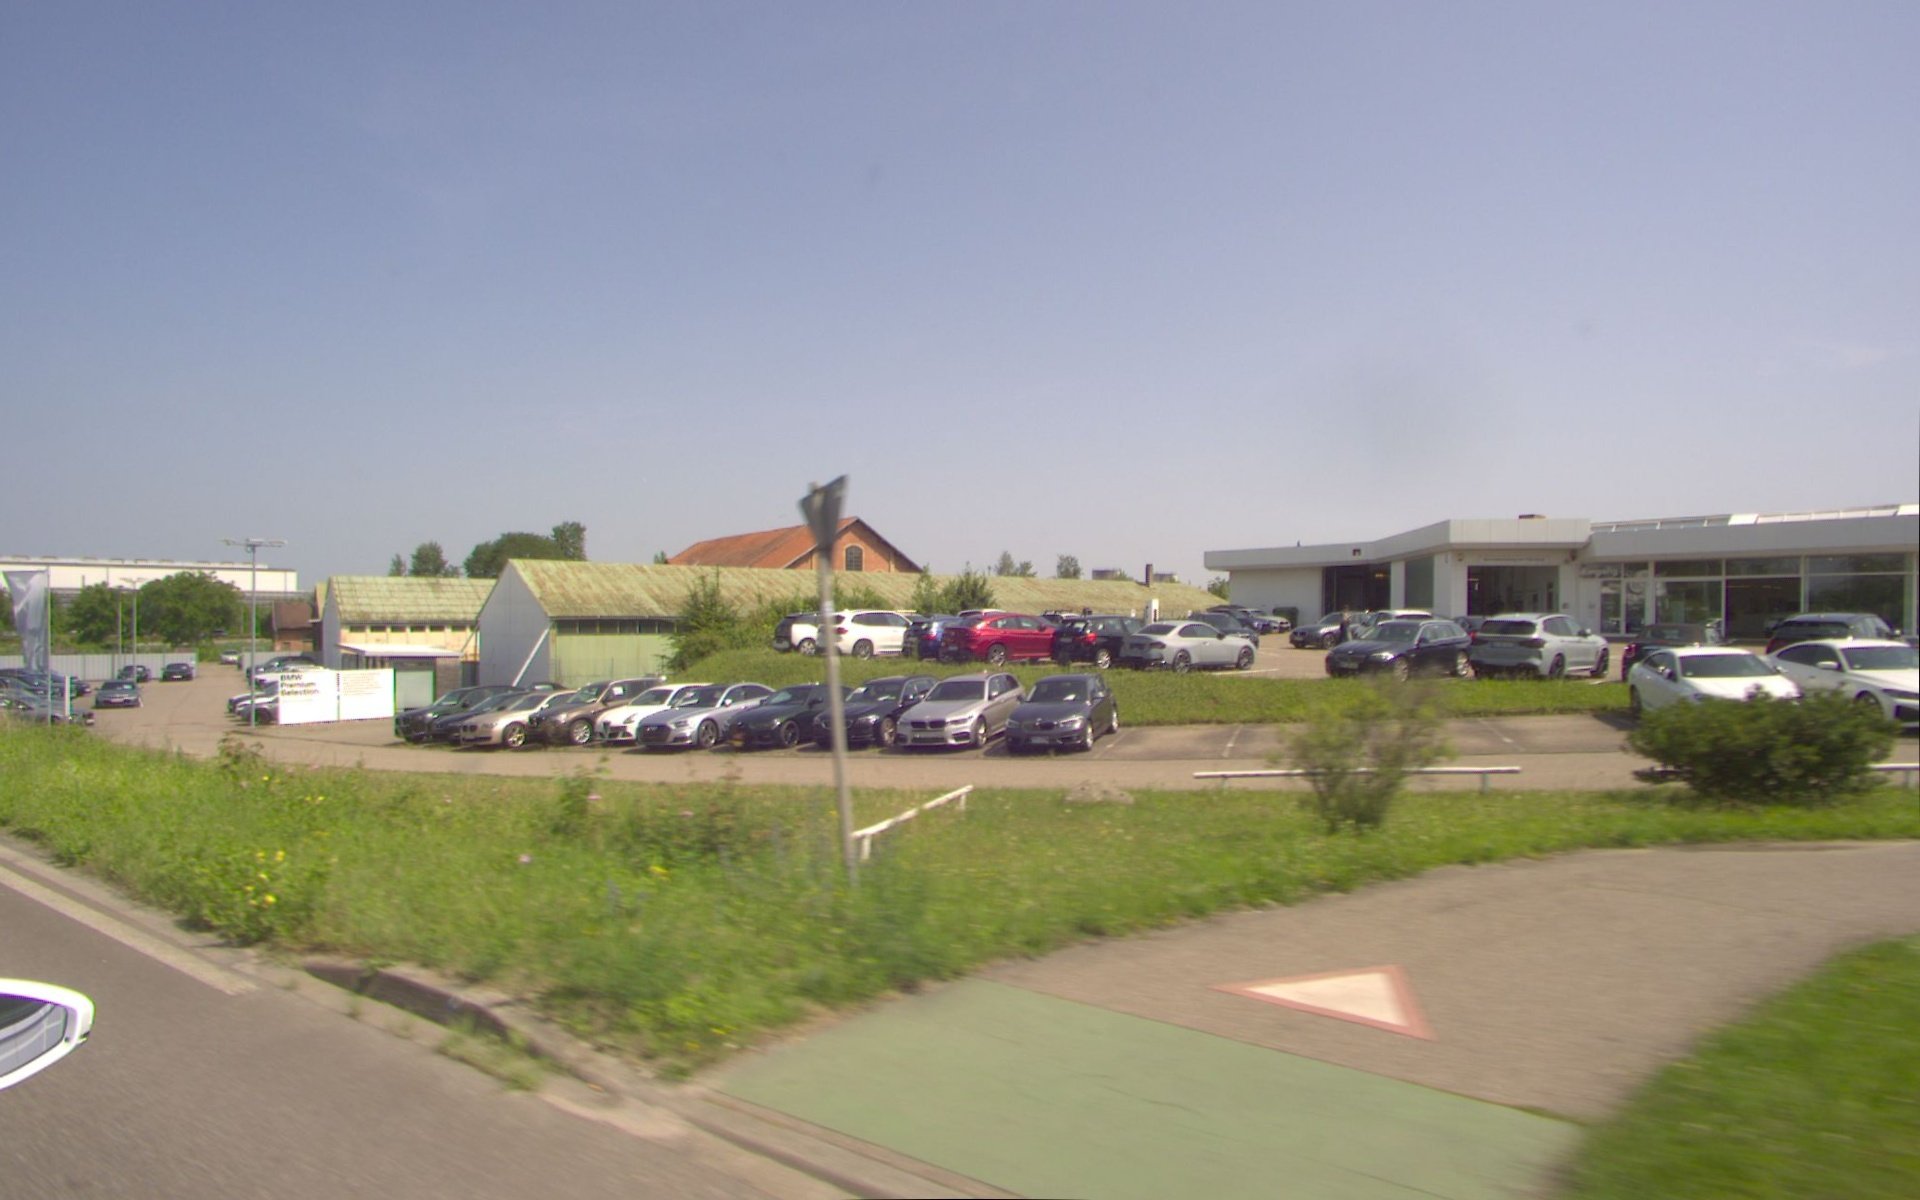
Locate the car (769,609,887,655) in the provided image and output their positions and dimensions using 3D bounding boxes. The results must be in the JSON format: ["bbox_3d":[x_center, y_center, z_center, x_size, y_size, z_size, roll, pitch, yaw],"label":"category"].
[{"bbox_3d":[-4.649,1.111,35.551,3.843,1.552,1.754,0,-1,-39],"label":"car"}]

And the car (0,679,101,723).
[{"bbox_3d":[-35.396,3.814,37.837,4.101,1.542,1.687,1,-2,-19],"label":"car"}]

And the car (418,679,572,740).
[{"bbox_3d":[-14.582,3.413,31.609,1.970,1.571,3.984,-4,-2,28],"label":"car"}]

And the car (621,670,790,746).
[{"bbox_3d":[-6.542,2.768,26.280,1.892,1.484,4.421,-4,-1,24],"label":"car"}]

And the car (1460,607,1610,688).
[{"bbox_3d":[14.284,1.105,24.798,3.962,1.773,1.934,-1,1,-39],"label":"car"}]

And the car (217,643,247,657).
[{"bbox_3d":[-77.933,5.355,107.258,1.970,1.415,3.985,1,-3,-26],"label":"car"}]

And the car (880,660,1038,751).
[{"bbox_3d":[0.113,2.340,23.007,1.892,1.586,4.559,-4,-1,23],"label":"car"}]

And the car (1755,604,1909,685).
[{"bbox_3d":[20.064,0.958,22.988,4.374,1.519,1.934,-3,0,-39],"label":"car"}]

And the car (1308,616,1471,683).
[{"bbox_3d":[10.904,1.187,25.367,3.955,1.546,1.938,0,0,-33],"label":"car"}]

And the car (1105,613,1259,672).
[{"bbox_3d":[6.283,1.140,28.152,4.417,1.519,1.934,0,0,-39],"label":"car"}]

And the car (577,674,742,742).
[{"bbox_3d":[-8.341,2.972,28.168,1.848,1.484,4.239,-4,-2,32],"label":"car"}]

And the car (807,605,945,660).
[{"bbox_3d":[-2.809,1.061,33.900,4.417,1.770,1.824,0,-1,-39],"label":"car"}]

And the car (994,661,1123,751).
[{"bbox_3d":[2.261,2.219,21.715,1.752,1.439,4.564,-4,-1,18],"label":"car"}]

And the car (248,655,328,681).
[{"bbox_3d":[-43.581,4.400,64.993,1.733,1.542,3.991,-2,-2,32],"label":"car"}]

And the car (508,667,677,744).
[{"bbox_3d":[-10.557,3.005,29.035,1.973,1.770,4.239,-4,-1,32],"label":"car"}]

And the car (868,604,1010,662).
[{"bbox_3d":[-0.631,1.021,32.237,4.417,1.770,1.824,0,-1,-39],"label":"car"}]

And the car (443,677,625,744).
[{"bbox_3d":[-12.776,3.274,30.332,1.973,1.527,4.756,-4,-2,32],"label":"car"}]

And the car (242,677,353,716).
[{"bbox_3d":[-28.610,4.143,43.349,3.744,1.542,1.746,1,-3,-25],"label":"car"}]

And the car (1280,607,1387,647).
[{"bbox_3d":[15.257,1.088,40.813,4.410,1.542,1.937,0,-1,-34],"label":"car"}]

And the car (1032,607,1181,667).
[{"bbox_3d":[4.406,1.039,29.848,4.417,1.656,1.934,0,-1,-39],"label":"car"}]

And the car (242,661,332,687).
[{"bbox_3d":[-45.074,4.959,67.177,1.884,1.542,4.638,-2,-2,32],"label":"car"}]

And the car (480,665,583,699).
[{"bbox_3d":[-19.029,3.598,44.520,3.909,1.393,1.705,2,-3,-40],"label":"car"}]

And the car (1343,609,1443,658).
[{"bbox_3d":[14.898,1.109,34.690,1.625,1.607,4.268,0,-1,0],"label":"car"}]

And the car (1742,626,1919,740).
[{"bbox_3d":[16.555,1.390,18.235,1.735,1.592,4.660,0,1,12],"label":"car"}]

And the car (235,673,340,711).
[{"bbox_3d":[-30.761,4.172,45.937,3.916,1.542,1.742,1,-2,-32],"label":"car"}]

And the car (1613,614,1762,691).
[{"bbox_3d":[17.384,1.175,23.881,3.962,1.520,1.933,-2,2,-39],"label":"car"}]

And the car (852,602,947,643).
[{"bbox_3d":[-2.549,0.917,41.072,1.899,1.617,4.273,0,-1,-36],"label":"car"}]

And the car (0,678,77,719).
[{"bbox_3d":[-38.241,3.913,39.952,4.105,1.542,1.746,1,-3,-23],"label":"car"}]

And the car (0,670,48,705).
[{"bbox_3d":[-45.047,4.050,46.113,4.105,1.542,1.851,1,-3,-23],"label":"car"}]

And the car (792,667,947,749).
[{"bbox_3d":[-2.084,2.566,24.363,1.892,1.501,4.249,-4,-1,23],"label":"car"}]

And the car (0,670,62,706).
[{"bbox_3d":[-50.507,4.615,52.628,4.564,1.723,1.852,1,0,-19],"label":"car"}]

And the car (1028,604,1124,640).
[{"bbox_3d":[5.436,1.046,47.380,2.168,1.617,4.273,0,-1,-36],"label":"car"}]

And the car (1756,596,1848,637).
[{"bbox_3d":[34.791,0.677,41.351,3.987,1.607,1.898,0,0,-34],"label":"car"}]

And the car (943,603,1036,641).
[{"bbox_3d":[1.243,0.973,44.367,1.899,1.617,4.273,0,-1,-36],"label":"car"}]

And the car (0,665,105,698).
[{"bbox_3d":[-51.218,4.556,56.420,4.160,1.723,1.916,1,0,-15],"label":"car"}]

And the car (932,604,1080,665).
[{"bbox_3d":[1.463,1.027,30.977,4.417,1.770,1.934,0,-1,-39],"label":"car"}]

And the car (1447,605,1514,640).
[{"bbox_3d":[17.313,0.729,33.406,1.600,1.124,2.948,0,-1,20],"label":"car"}]

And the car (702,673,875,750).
[{"bbox_3d":[-4.205,2.743,25.227,1.896,1.430,4.238,-4,-1,32],"label":"car"}]

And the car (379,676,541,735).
[{"bbox_3d":[-16.521,3.446,33.321,2.115,1.660,4.479,-3,-3,28],"label":"car"}]

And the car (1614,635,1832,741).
[{"bbox_3d":[13.923,1.520,18.632,1.737,1.591,4.570,-2,-1,17],"label":"car"}]

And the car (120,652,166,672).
[{"bbox_3d":[-65.263,4.927,80.078,1.828,1.553,4.626,1,-3,-26],"label":"car"}]

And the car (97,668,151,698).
[{"bbox_3d":[-45.962,4.523,55.120,2.118,1.475,4.498,2,-3,-38],"label":"car"}]

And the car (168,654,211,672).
[{"bbox_3d":[-62.972,5.132,81.890,1.970,1.415,3.985,1,-3,-26],"label":"car"}]
